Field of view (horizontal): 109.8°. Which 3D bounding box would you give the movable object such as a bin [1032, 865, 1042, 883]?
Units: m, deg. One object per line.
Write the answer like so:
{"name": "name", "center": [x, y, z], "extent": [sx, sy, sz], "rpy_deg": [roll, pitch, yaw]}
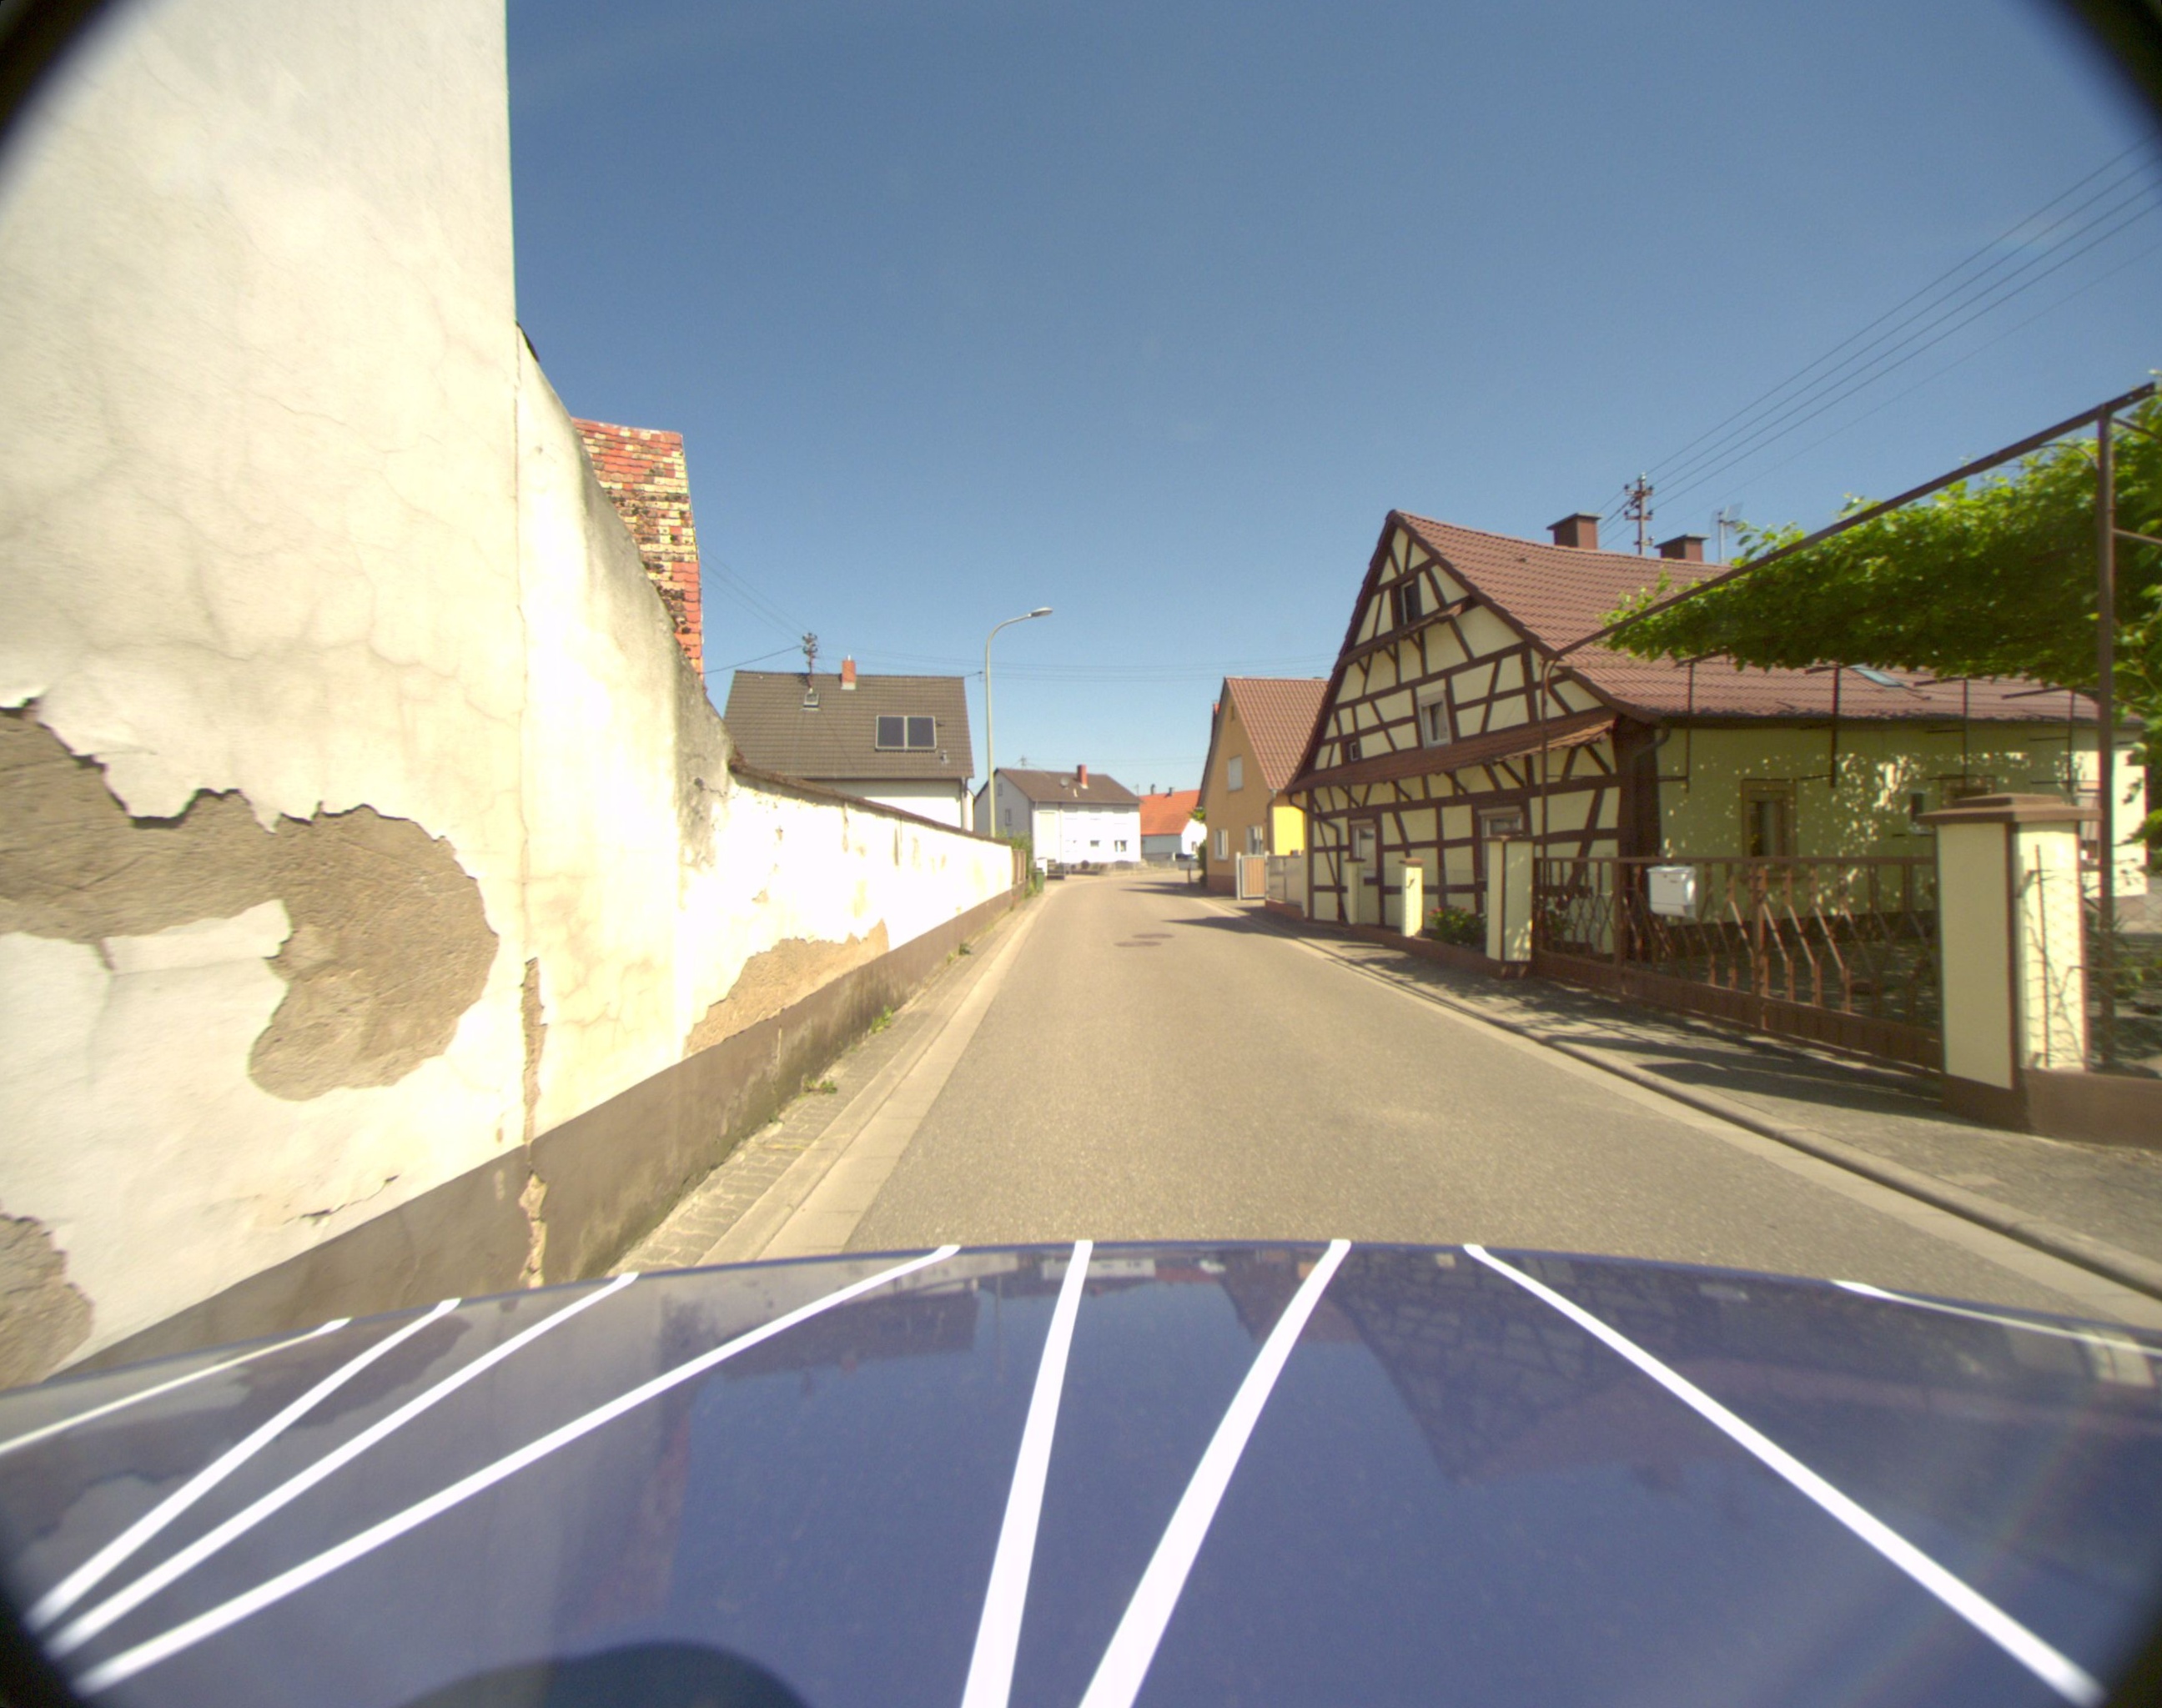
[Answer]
{"name": "movable object such as a bin", "center": [-2.470, 1.121, 42.440], "extent": [0.505, 0.971, 0.433], "rpy_deg": [-2, 1, 0]}

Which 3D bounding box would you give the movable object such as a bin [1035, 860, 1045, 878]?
{"name": "movable object such as a bin", "center": [-2.345, 0.846, 43.548], "extent": [0.505, 0.971, 0.494], "rpy_deg": [-2, 1, 0]}

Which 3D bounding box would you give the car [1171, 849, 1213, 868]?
{"name": "car", "center": [11.015, 0.466, 75.468], "extent": [1.705, 1.834, 3.989], "rpy_deg": [-2, 0, -40]}

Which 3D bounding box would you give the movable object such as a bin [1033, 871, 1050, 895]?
{"name": "movable object such as a bin", "center": [-1.674, 1.201, 31.983], "extent": [0.552, 0.971, 0.432], "rpy_deg": [-2, 1, -25]}
